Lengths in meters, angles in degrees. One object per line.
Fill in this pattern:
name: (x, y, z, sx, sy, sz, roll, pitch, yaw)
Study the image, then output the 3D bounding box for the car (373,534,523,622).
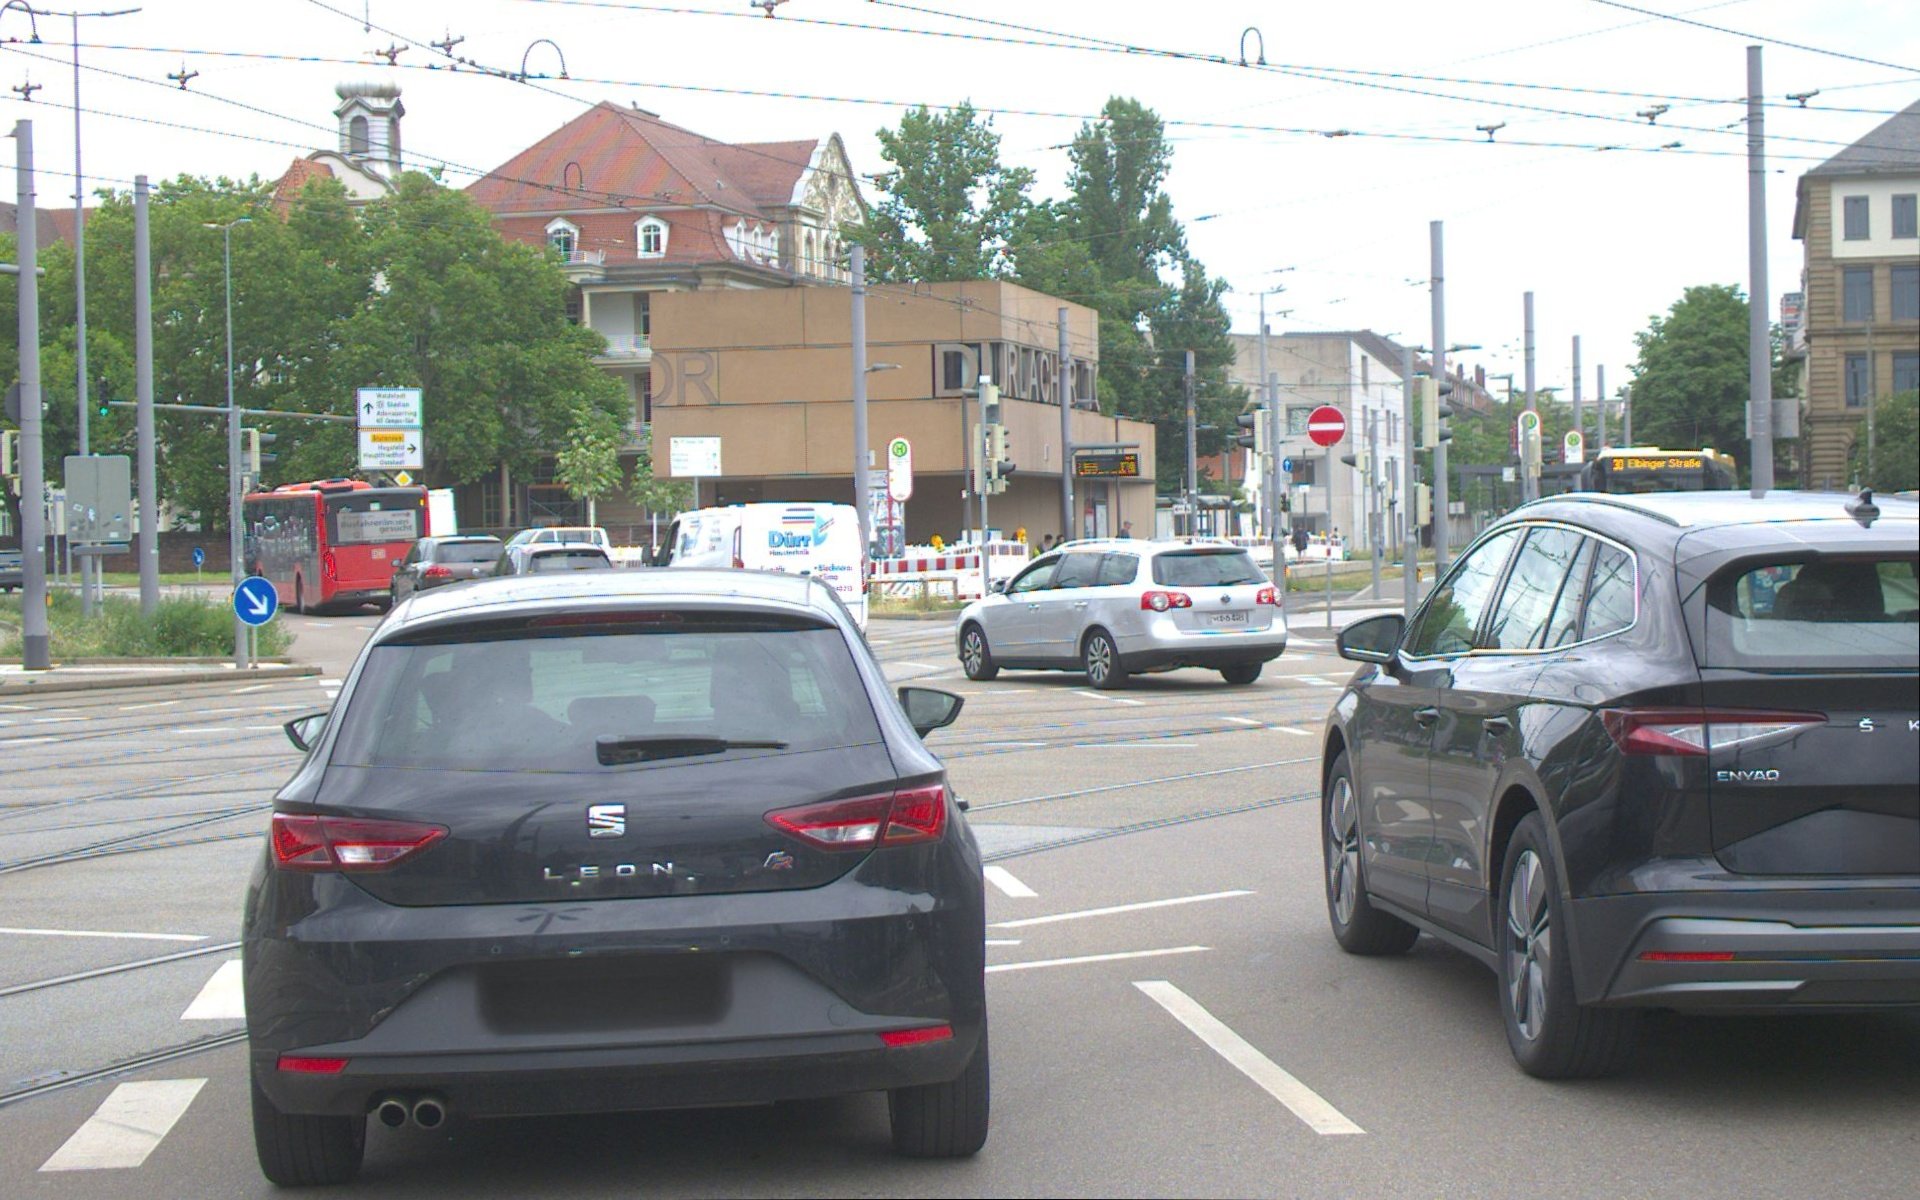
car: (-9.750, -0.438, 65.231, 1.993, 1.560, 4.206, -2, 1, -20)

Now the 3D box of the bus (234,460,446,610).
bus: (-15.001, -1.515, 82.275, 3.057, 3.286, 12.383, -1, 1, -19)

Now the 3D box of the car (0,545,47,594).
car: (-31.768, -1.009, 113.766, 1.993, 1.533, 4.000, -2, 1, -30)

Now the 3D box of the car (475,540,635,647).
car: (-6.534, -0.142, 55.143, 1.857, 1.594, 4.206, -2, 1, -16)

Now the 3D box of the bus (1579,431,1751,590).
bus: (16.161, -2.029, 78.079, 3.018, 3.256, 13.034, -1, 1, 15)

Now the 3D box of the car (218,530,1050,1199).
car: (-0.850, 0.551, 9.303, 1.745, 1.459, 4.001, -1, 1, -5)

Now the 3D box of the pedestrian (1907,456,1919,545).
pedestrian: (46.305, -4.789, 164.956, 1.307, 4.239, 1.346, -1, 1, 3)

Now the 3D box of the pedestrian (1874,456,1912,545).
pedestrian: (44.843, -4.784, 165.248, 1.387, 4.239, 1.347, -1, 1, -1)

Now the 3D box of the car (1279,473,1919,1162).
car: (2.330, 0.464, 10.651, 1.903, 1.652, 4.515, -2, 1, -4)

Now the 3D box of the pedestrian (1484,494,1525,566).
pedestrian: (13.930, -1.791, 87.949, 0.824, 1.802, 1.020, -1, 1, 18)

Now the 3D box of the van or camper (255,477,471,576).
van or camper: (-21.500, -2.661, 124.069, 7.133, 3.320, 2.875, -3, 0, -42)

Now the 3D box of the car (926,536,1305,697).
car: (1.516, 0.129, 35.446, 1.720, 1.477, 4.629, -3, 2, -28)

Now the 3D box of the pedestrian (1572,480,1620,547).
pedestrian: (15.815, -2.157, 85.482, 1.005, 1.639, 1.020, -1, 1, 18)

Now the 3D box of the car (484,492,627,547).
car: (-15.223, -3.038, 129.464, 4.991, 1.858, 1.999, -3, -1, -41)

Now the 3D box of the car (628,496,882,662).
car: (-2.764, -0.305, 45.041, 1.993, 2.012, 5.033, -2, 1, -19)
